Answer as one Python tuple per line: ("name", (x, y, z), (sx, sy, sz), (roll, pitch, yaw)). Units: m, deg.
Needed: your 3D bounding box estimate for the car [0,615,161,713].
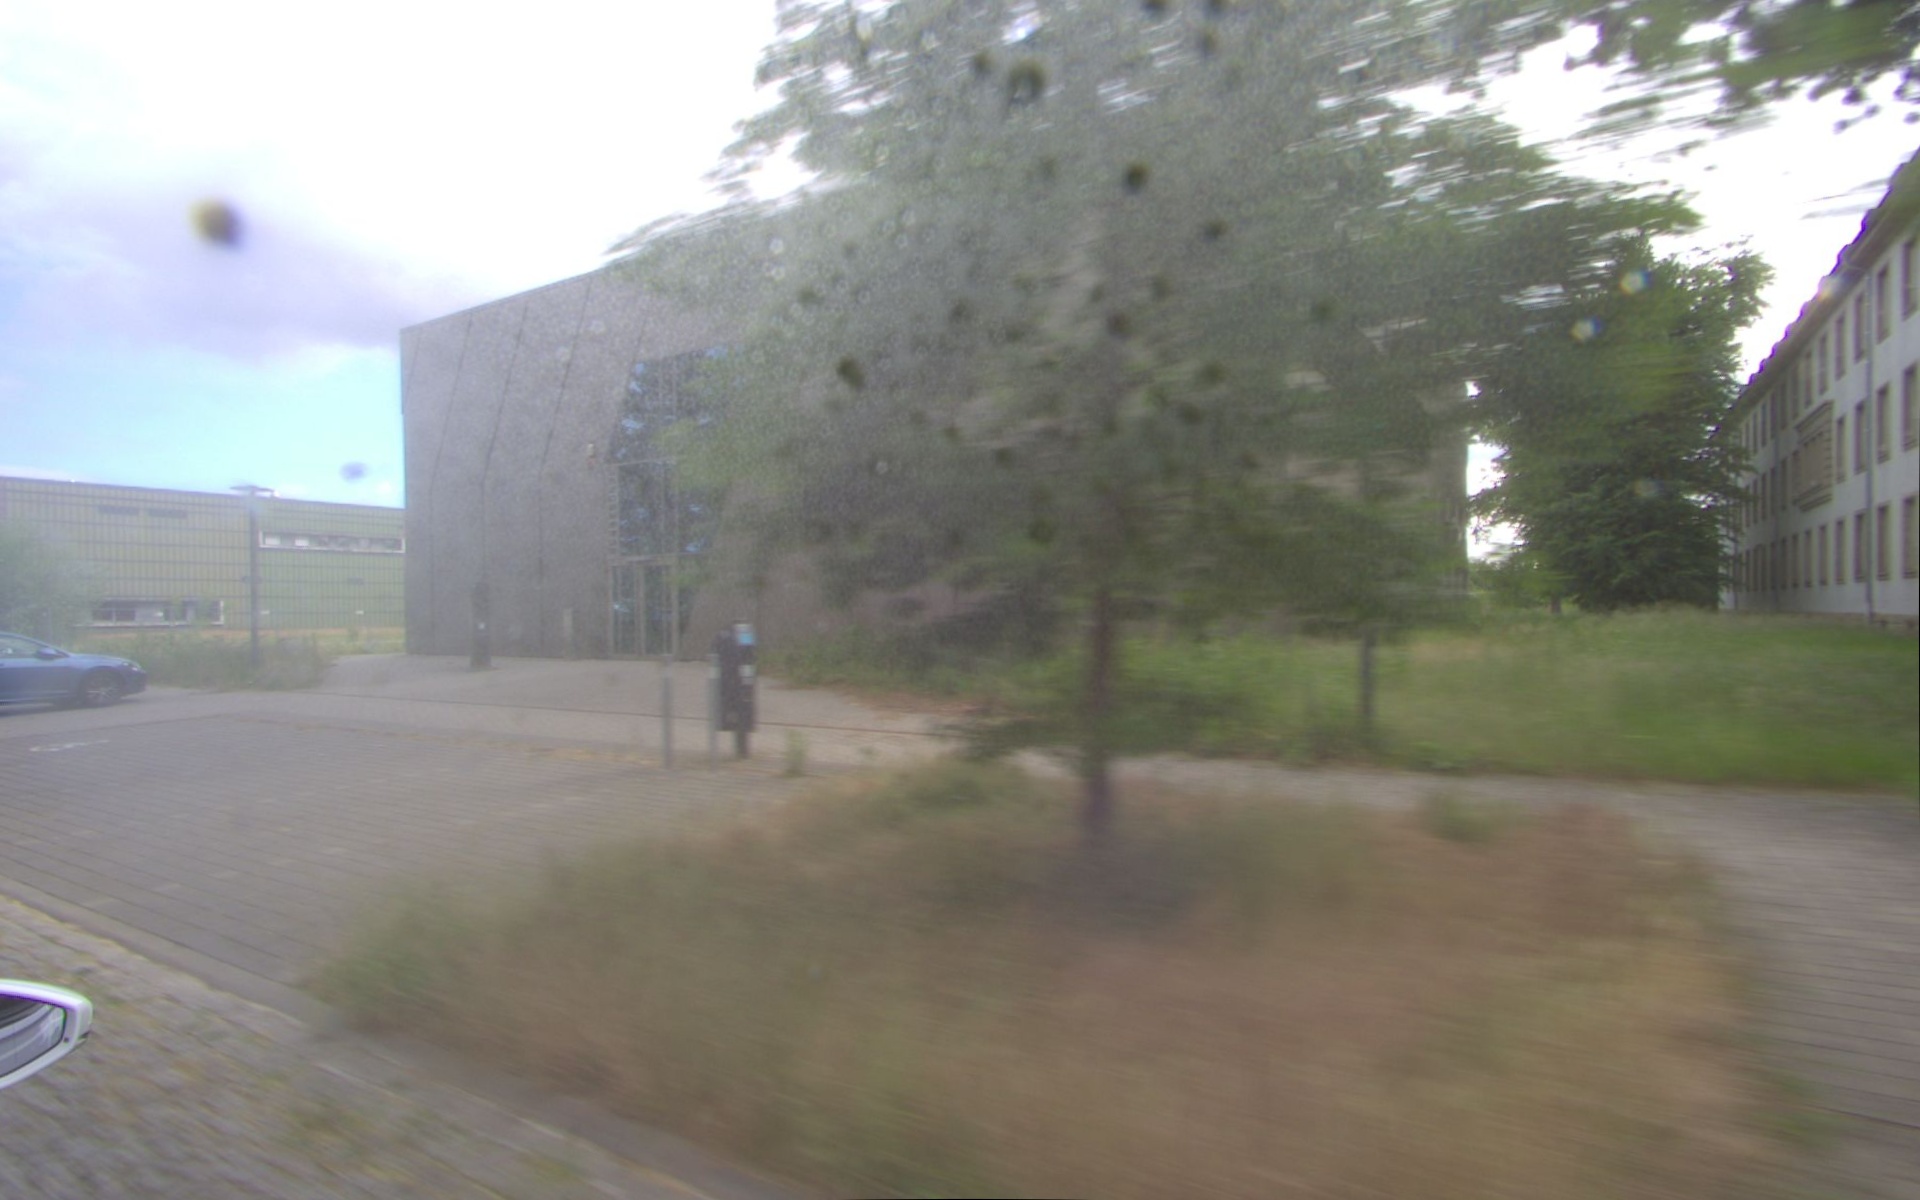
("car", (-16.569, 1.114, 16.865), (1.803, 1.495, 4.482), (-1, 2, 30))
